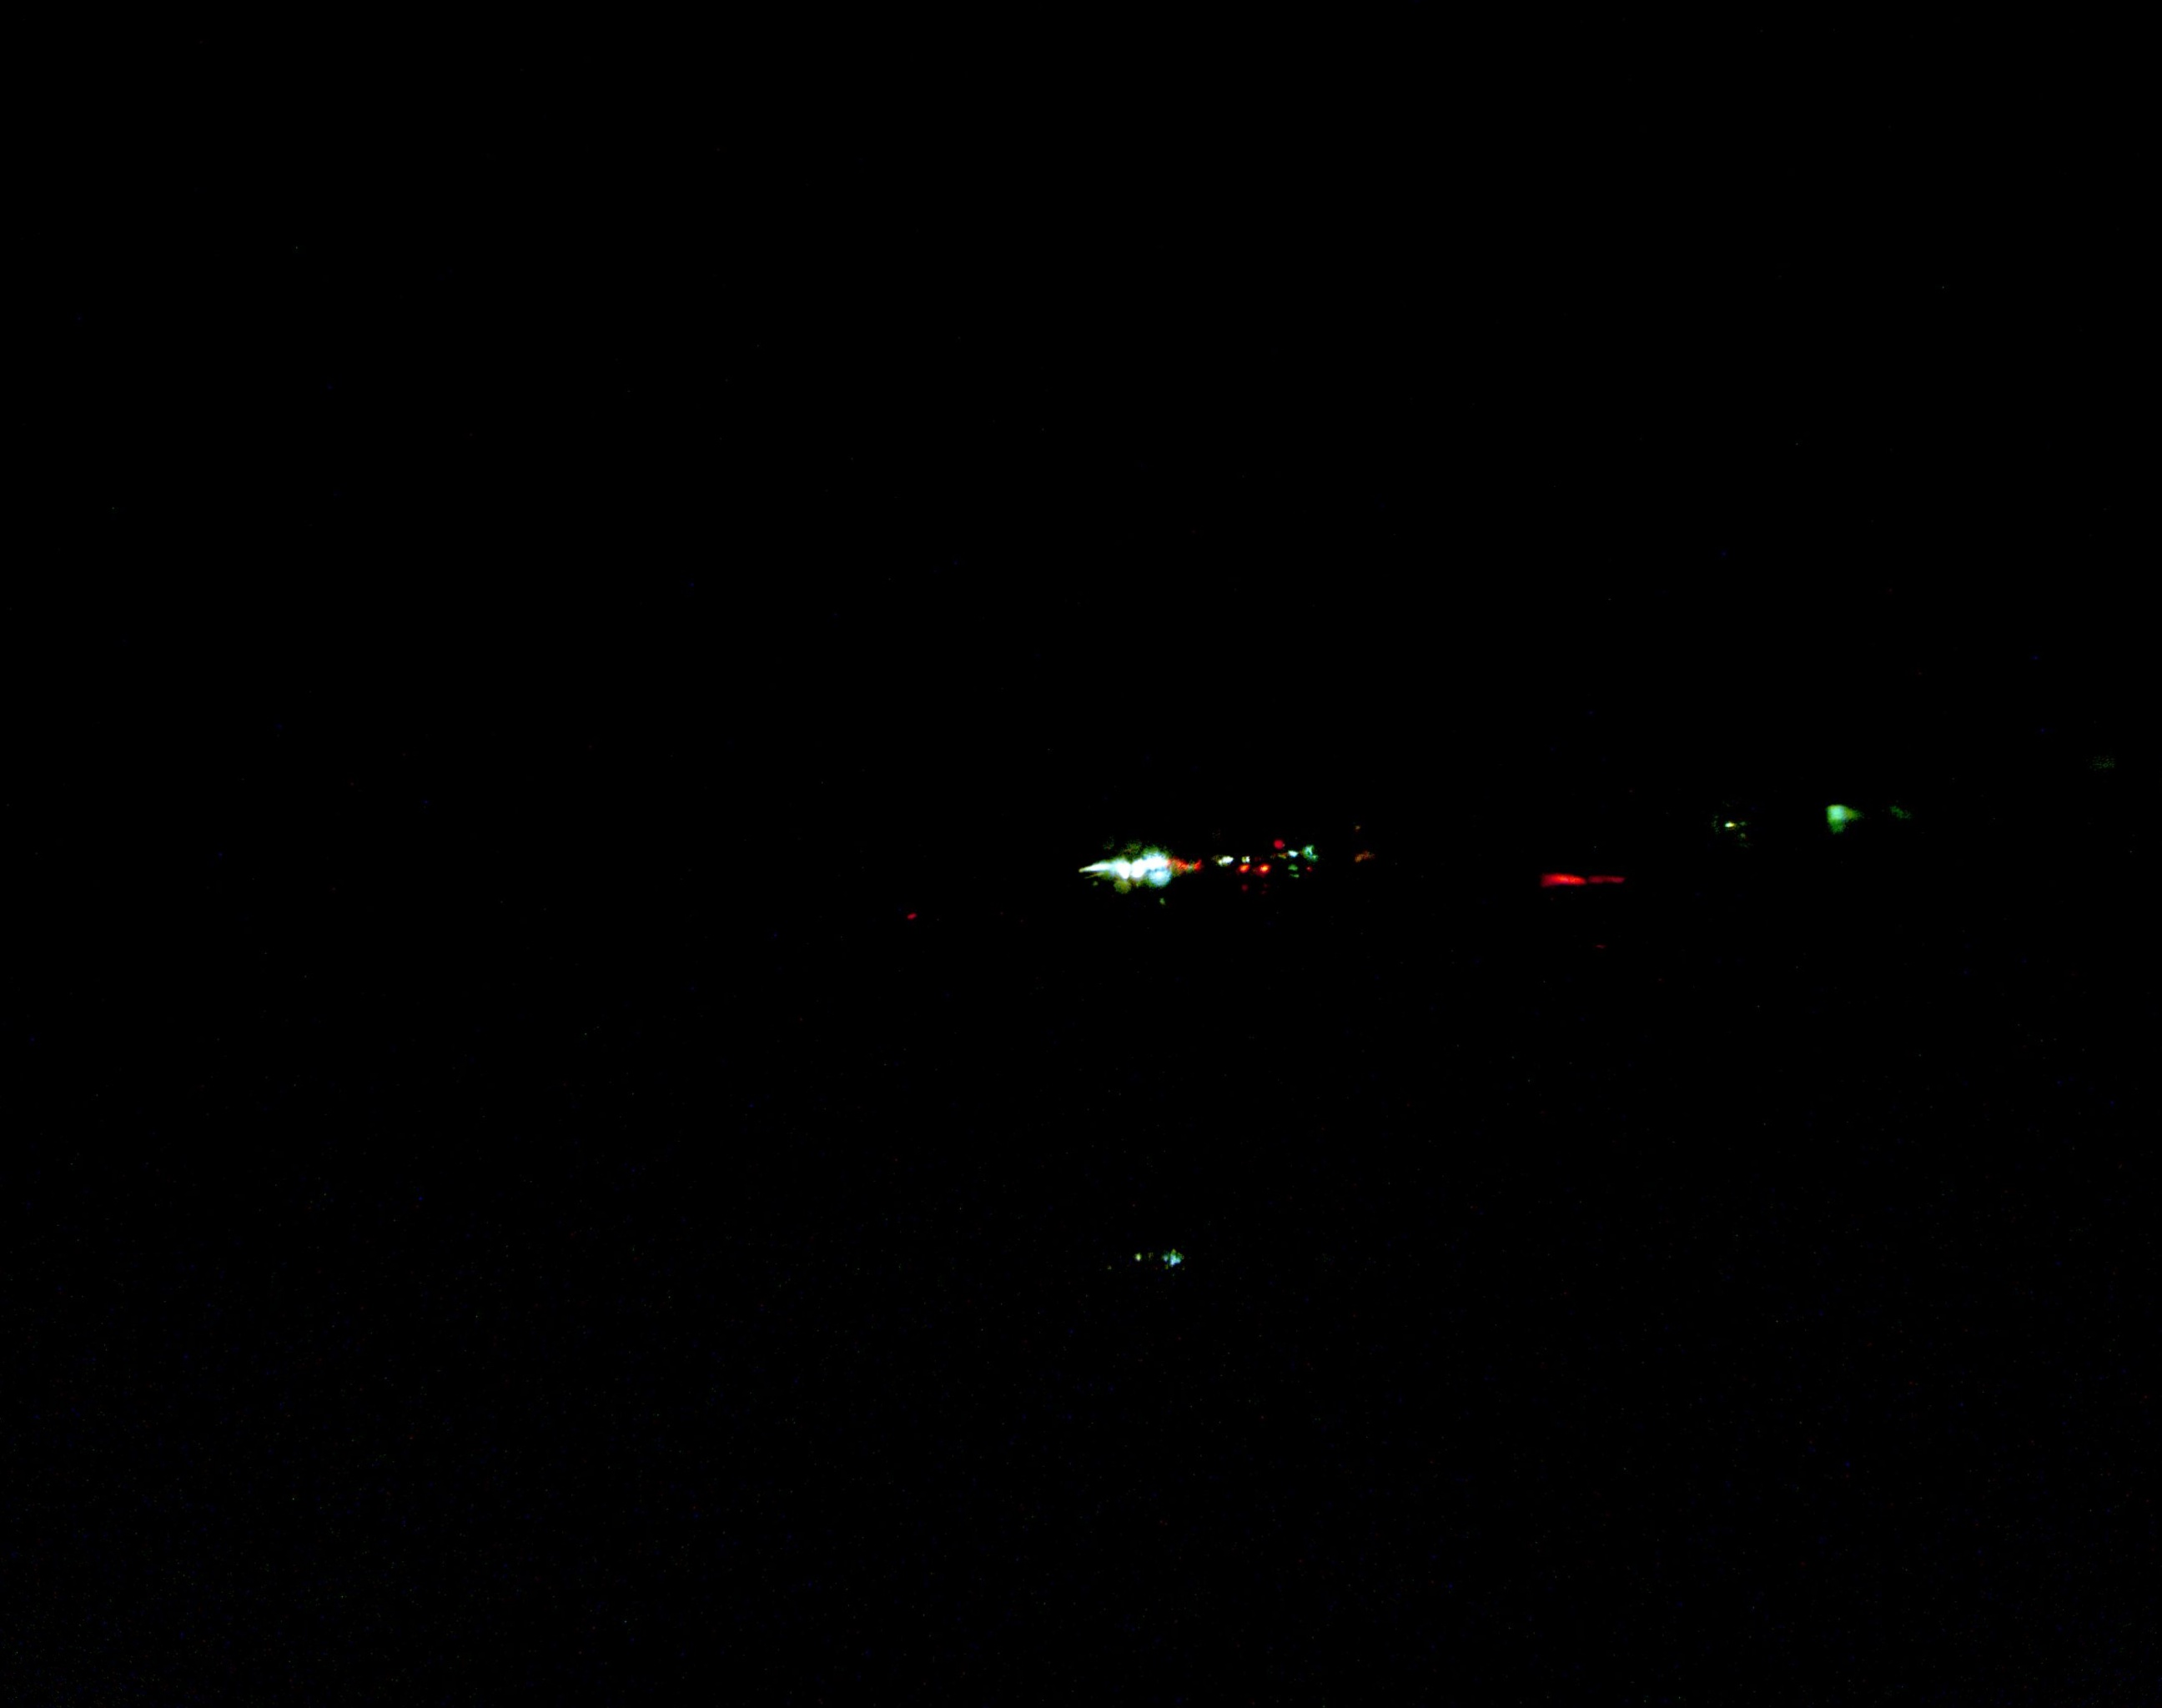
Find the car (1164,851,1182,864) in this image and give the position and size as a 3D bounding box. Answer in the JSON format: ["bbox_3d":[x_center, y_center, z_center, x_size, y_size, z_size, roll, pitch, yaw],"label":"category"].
[{"bbox_3d":[13.190,0.439,109.084,2.203,1.735,4.525,-1,0,3],"label":"car"}]

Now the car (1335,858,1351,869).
[{"bbox_3d":[48.911,1.750,142.100,1.997,2.002,4.002,-1,0,7],"label":"car"}]

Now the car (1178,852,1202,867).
[{"bbox_3d":[11.568,0.578,81.159,1.837,1.433,4.490,-1,0,-1],"label":"car"}]

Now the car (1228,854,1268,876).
[{"bbox_3d":[11.325,0.717,51.714,1.795,1.433,3.855,-1,0,-1],"label":"car"}]

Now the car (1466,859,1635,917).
[{"bbox_3d":[12.676,0.853,20.886,1.881,1.389,4.248,0,0,-3],"label":"car"}]

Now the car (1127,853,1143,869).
[{"bbox_3d":[7.008,0.906,97.817,1.998,2.002,4.001,-1,0,5],"label":"car"}]

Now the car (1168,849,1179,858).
[{"bbox_3d":[16.391,-0.070,134.470,1.885,1.591,3.901,-1,0,6],"label":"car"}]

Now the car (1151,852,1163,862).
[{"bbox_3d":[14.446,0.591,143.432,1.997,1.721,4.002,-1,0,9],"label":"car"}]
